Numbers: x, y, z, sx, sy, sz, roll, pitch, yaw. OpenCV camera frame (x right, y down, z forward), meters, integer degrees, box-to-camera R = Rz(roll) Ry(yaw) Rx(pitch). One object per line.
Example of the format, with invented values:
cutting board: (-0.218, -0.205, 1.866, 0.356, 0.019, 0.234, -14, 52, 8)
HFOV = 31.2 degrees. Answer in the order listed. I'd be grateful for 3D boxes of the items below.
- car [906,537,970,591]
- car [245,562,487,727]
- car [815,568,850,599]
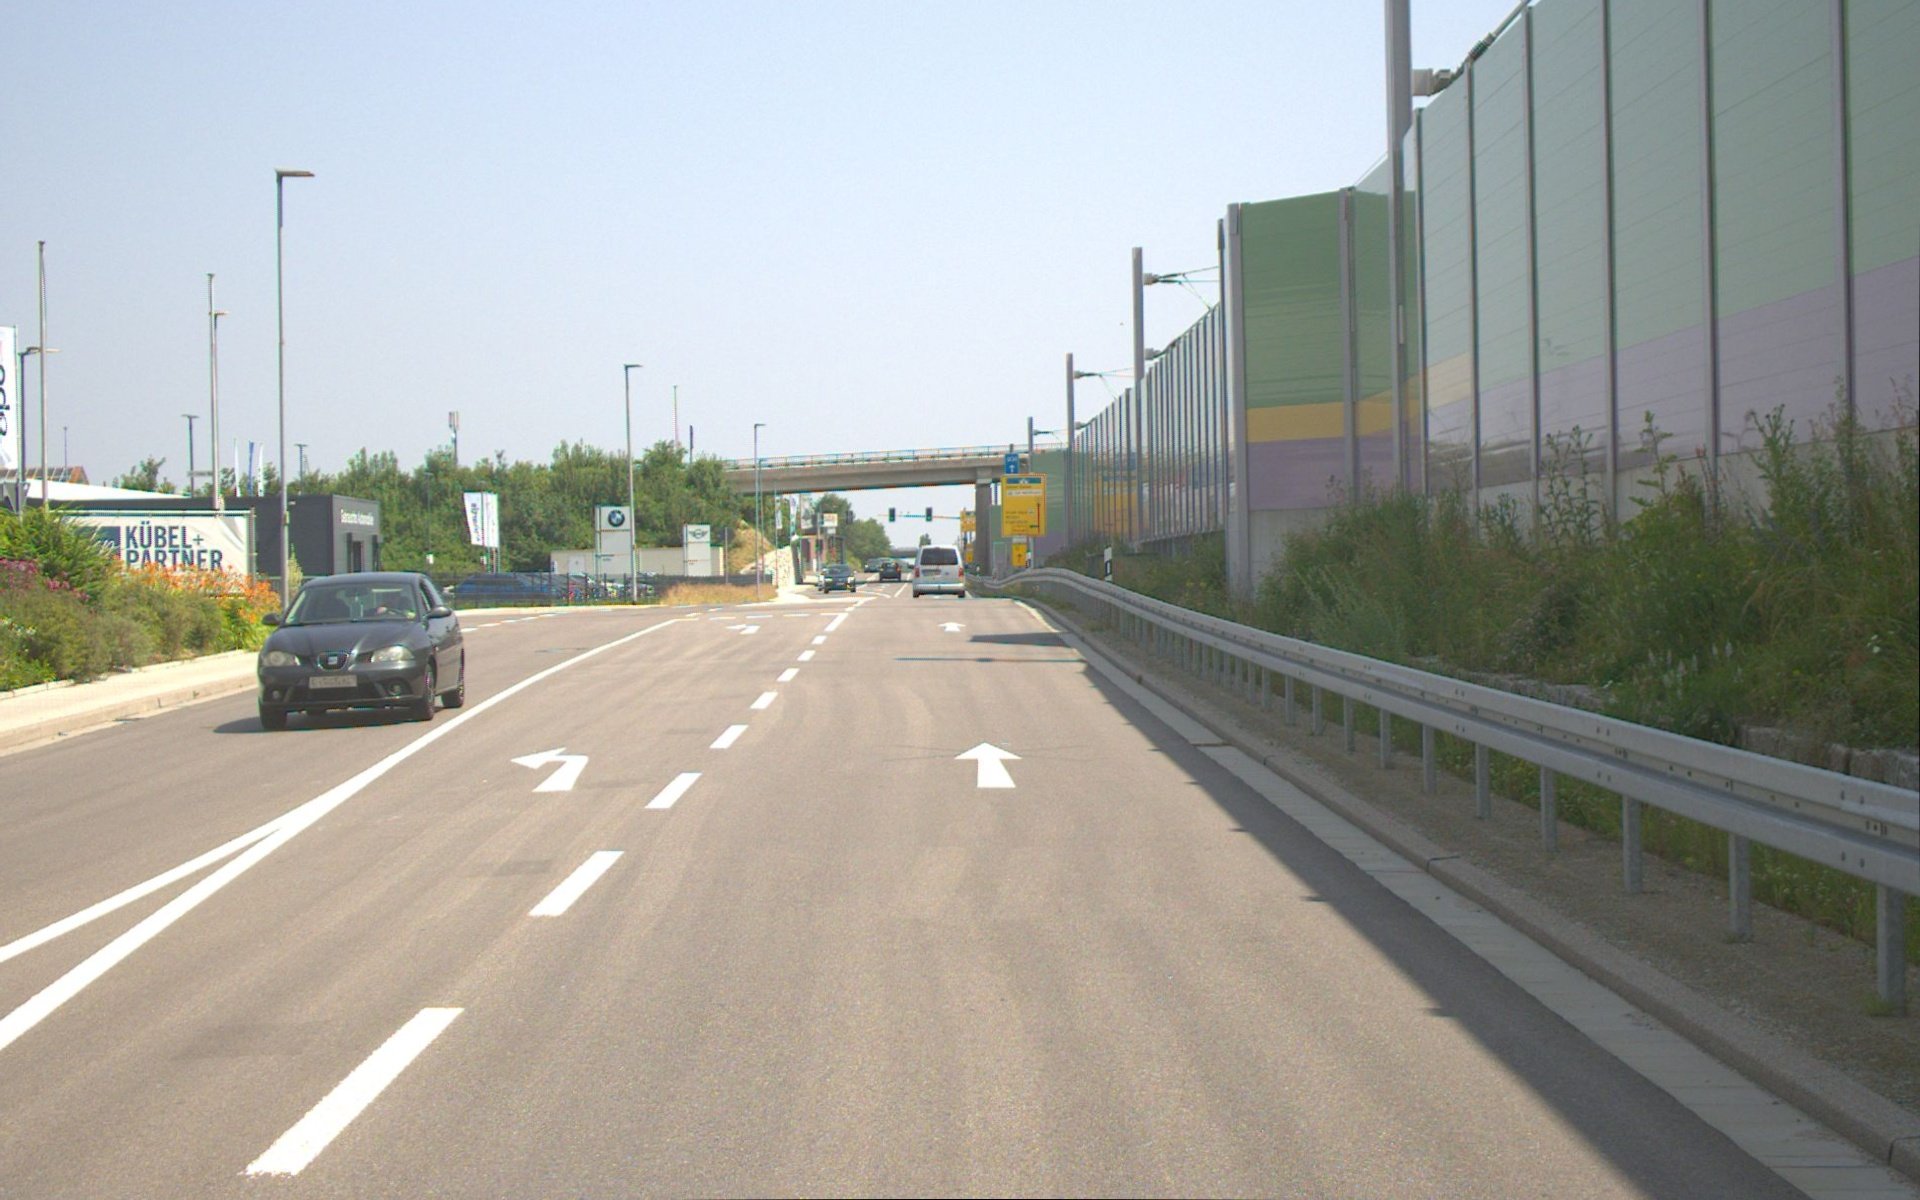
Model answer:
car: (-0.724, -1.220, 115.404, 1.993, 1.751, 4.000, -1, 1, 1)
car: (-5.756, 0.391, 33.741, 1.670, 1.418, 4.000, -3, 1, -1)
car: (-7.453, -0.982, 201.660, 1.877, 1.667, 4.291, -1, 1, 0)
